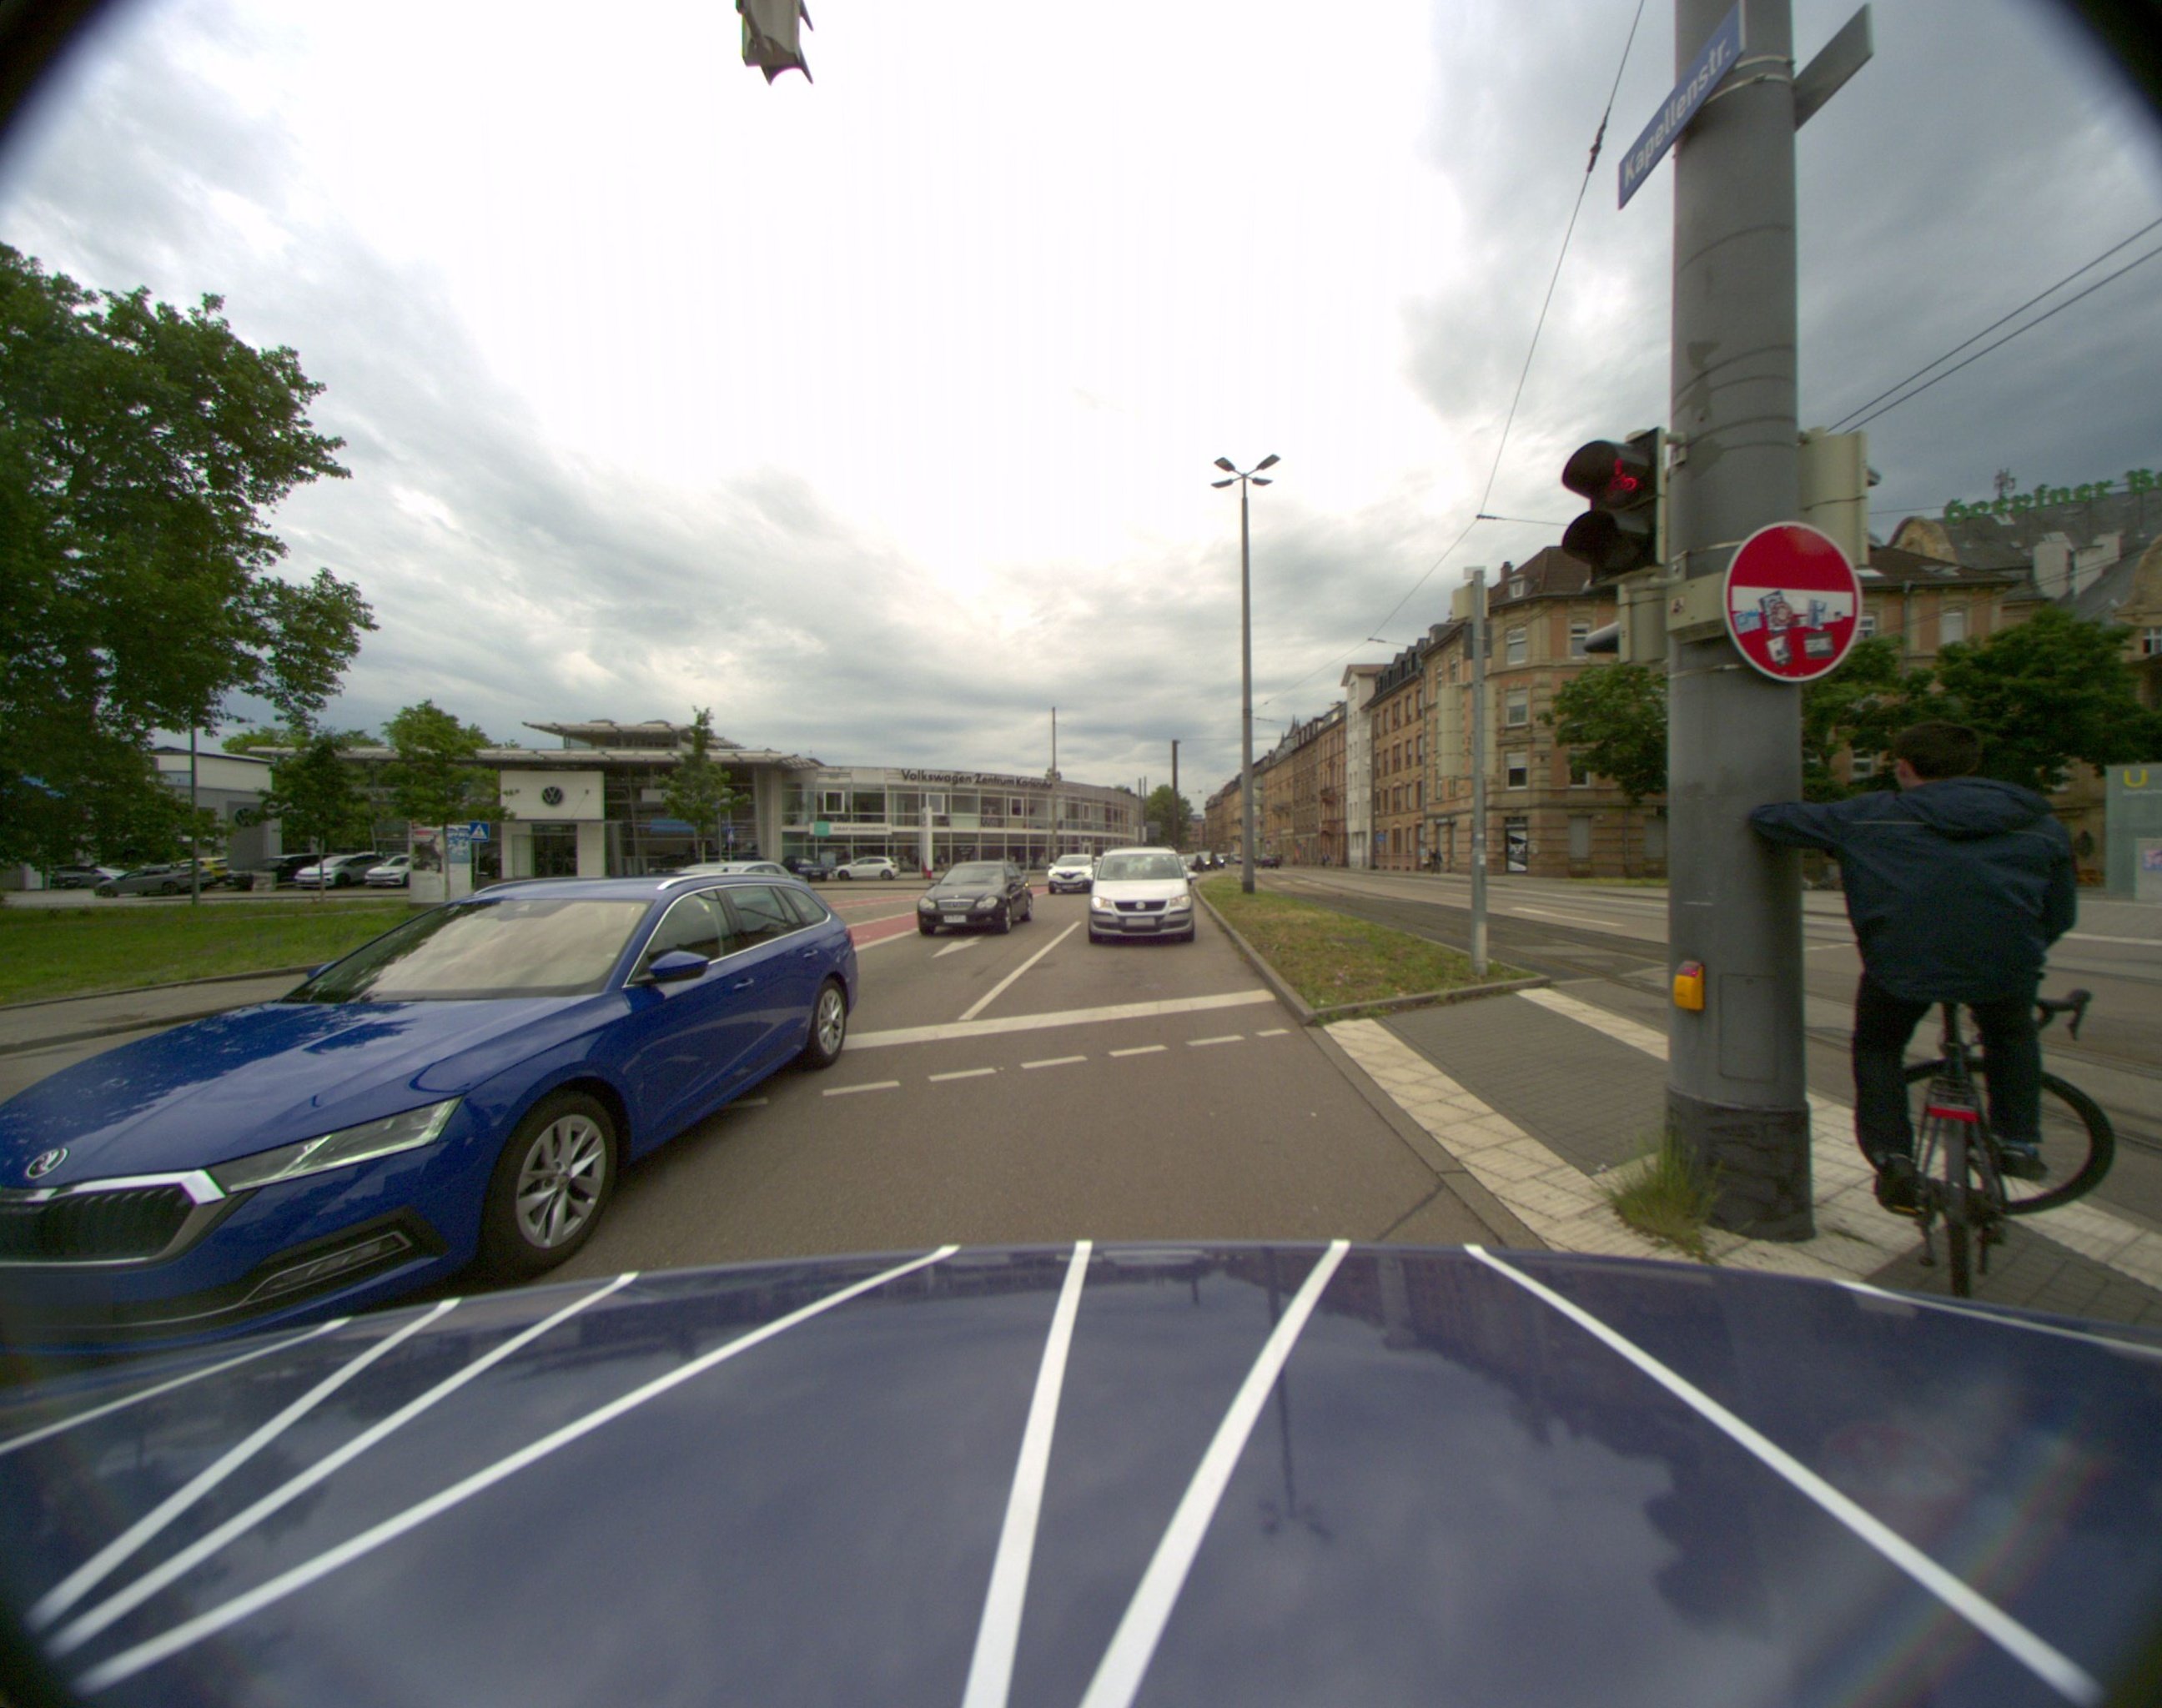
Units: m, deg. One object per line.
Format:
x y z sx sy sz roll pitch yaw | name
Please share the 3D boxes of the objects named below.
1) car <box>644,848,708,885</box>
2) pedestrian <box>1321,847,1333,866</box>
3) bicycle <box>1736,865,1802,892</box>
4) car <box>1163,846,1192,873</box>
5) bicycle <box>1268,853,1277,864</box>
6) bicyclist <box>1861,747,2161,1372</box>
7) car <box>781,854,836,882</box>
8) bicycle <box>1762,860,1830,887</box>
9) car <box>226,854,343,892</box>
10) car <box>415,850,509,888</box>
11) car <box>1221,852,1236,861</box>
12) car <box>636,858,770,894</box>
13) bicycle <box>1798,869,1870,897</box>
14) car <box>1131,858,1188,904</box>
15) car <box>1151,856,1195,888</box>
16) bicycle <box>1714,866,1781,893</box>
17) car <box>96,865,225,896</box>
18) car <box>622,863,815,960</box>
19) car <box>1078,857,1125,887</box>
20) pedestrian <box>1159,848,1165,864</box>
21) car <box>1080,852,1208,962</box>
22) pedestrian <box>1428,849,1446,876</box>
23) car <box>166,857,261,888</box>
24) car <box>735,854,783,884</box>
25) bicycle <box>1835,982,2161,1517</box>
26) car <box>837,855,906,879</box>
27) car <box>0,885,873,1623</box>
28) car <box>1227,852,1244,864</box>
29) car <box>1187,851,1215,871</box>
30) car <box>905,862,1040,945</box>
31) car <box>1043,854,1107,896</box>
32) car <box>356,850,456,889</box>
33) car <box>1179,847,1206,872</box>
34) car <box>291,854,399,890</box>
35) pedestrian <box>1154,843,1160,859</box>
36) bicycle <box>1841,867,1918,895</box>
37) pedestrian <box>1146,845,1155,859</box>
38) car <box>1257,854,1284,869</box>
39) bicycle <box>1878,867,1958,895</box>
-22.962 0.668 43.268 1.958 1.635 4.665 0 5 -12 | car
24.624 0.251 76.072 0.921 1.822 0.719 -1 1 -30 | pedestrian
28.569 1.000 31.614 0.754 1.024 2.397 0 0 5 | bicycle
7.201 0.387 56.984 1.997 2.002 4.002 0 0 6 | car
23.503 0.587 93.286 0.798 1.285 2.412 0 0 5 | bicycle
2.898 0.536 2.367 0.656 1.630 0.516 0 1 -34 | bicyclist
-16.241 0.795 45.179 1.795 1.552 4.023 -1 1 -39 | car
29.683 0.782 31.607 0.754 1.024 2.397 0 0 5 | bicycle
-42.382 0.961 40.582 1.957 1.505 4.222 0 6 -7 | car
-34.052 0.775 41.952 1.957 1.450 4.221 0 7 -7 | car
23.652 0.344 122.086 1.814 1.423 4.018 0 0 3 | car
-16.438 0.944 33.220 4.882 1.534 1.890 0 0 -7 | car
30.870 1.172 31.217 0.754 1.024 2.397 0 0 5 | bicycle
2.650 0.880 26.285 1.809 1.398 3.984 0 0 4 | car
4.438 0.825 36.558 1.971 1.447 4.195 0 0 8 | car
27.763 1.044 31.695 0.836 1.024 2.397 0 0 5 | bicycle
-46.809 1.322 38.700 4.149 1.504 1.654 0 1 -7 | car
-6.603 0.960 14.381 1.709 1.475 3.933 -1 0 0 | car
1.087 0.856 38.067 1.907 1.428 3.974 0 0 8 | car
9.296 0.241 87.611 0.652 1.904 0.602 0 1 5 | pedestrian
1.178 0.778 13.702 1.862 1.609 5.064 -1 0 6 | car
22.762 0.530 48.576 0.811 1.666 0.799 0 1 2 | pedestrian
-46.893 1.003 41.120 3.122 1.505 1.439 0 5 -7 | car
-18.614 0.797 43.846 1.960 1.517 4.218 -1 2 -31 | car
3.076 1.067 2.496 1.617 1.064 0.526 0 1 -34 | bicycle
-13.012 0.810 47.347 3.906 1.433 1.732 0 1 -5 | car
-2.773 1.006 4.095 1.769 1.428 4.758 -1 0 3 | car
22.147 0.609 108.821 1.834 1.635 4.231 0 0 3 | car
10.857 0.567 68.975 2.371 1.744 5.132 0 0 8 | car
-2.096 0.928 15.993 1.769 1.362 4.423 -1 1 6 | car
-0.167 0.786 30.841 1.981 1.550 4.147 0 0 8 | car
-36.875 0.819 41.695 1.957 1.589 4.222 0 6 -7 | car
9.146 0.456 62.473 1.997 2.002 4.002 0 0 6 | car
-39.700 0.941 41.153 1.957 1.459 4.223 0 5 -7 | car
7.969 -0.289 79.739 0.663 1.671 0.650 0 1 4 | pedestrian
32.478 1.071 30.953 0.754 1.024 2.397 0 0 5 | bicycle
9.962 -0.223 108.992 1.176 2.002 1.032 0 1 5 | pedestrian
19.222 0.705 77.402 1.887 1.461 4.465 0 0 3 | car
33.928 1.081 30.849 0.754 1.024 2.397 0 0 5 | bicycle
